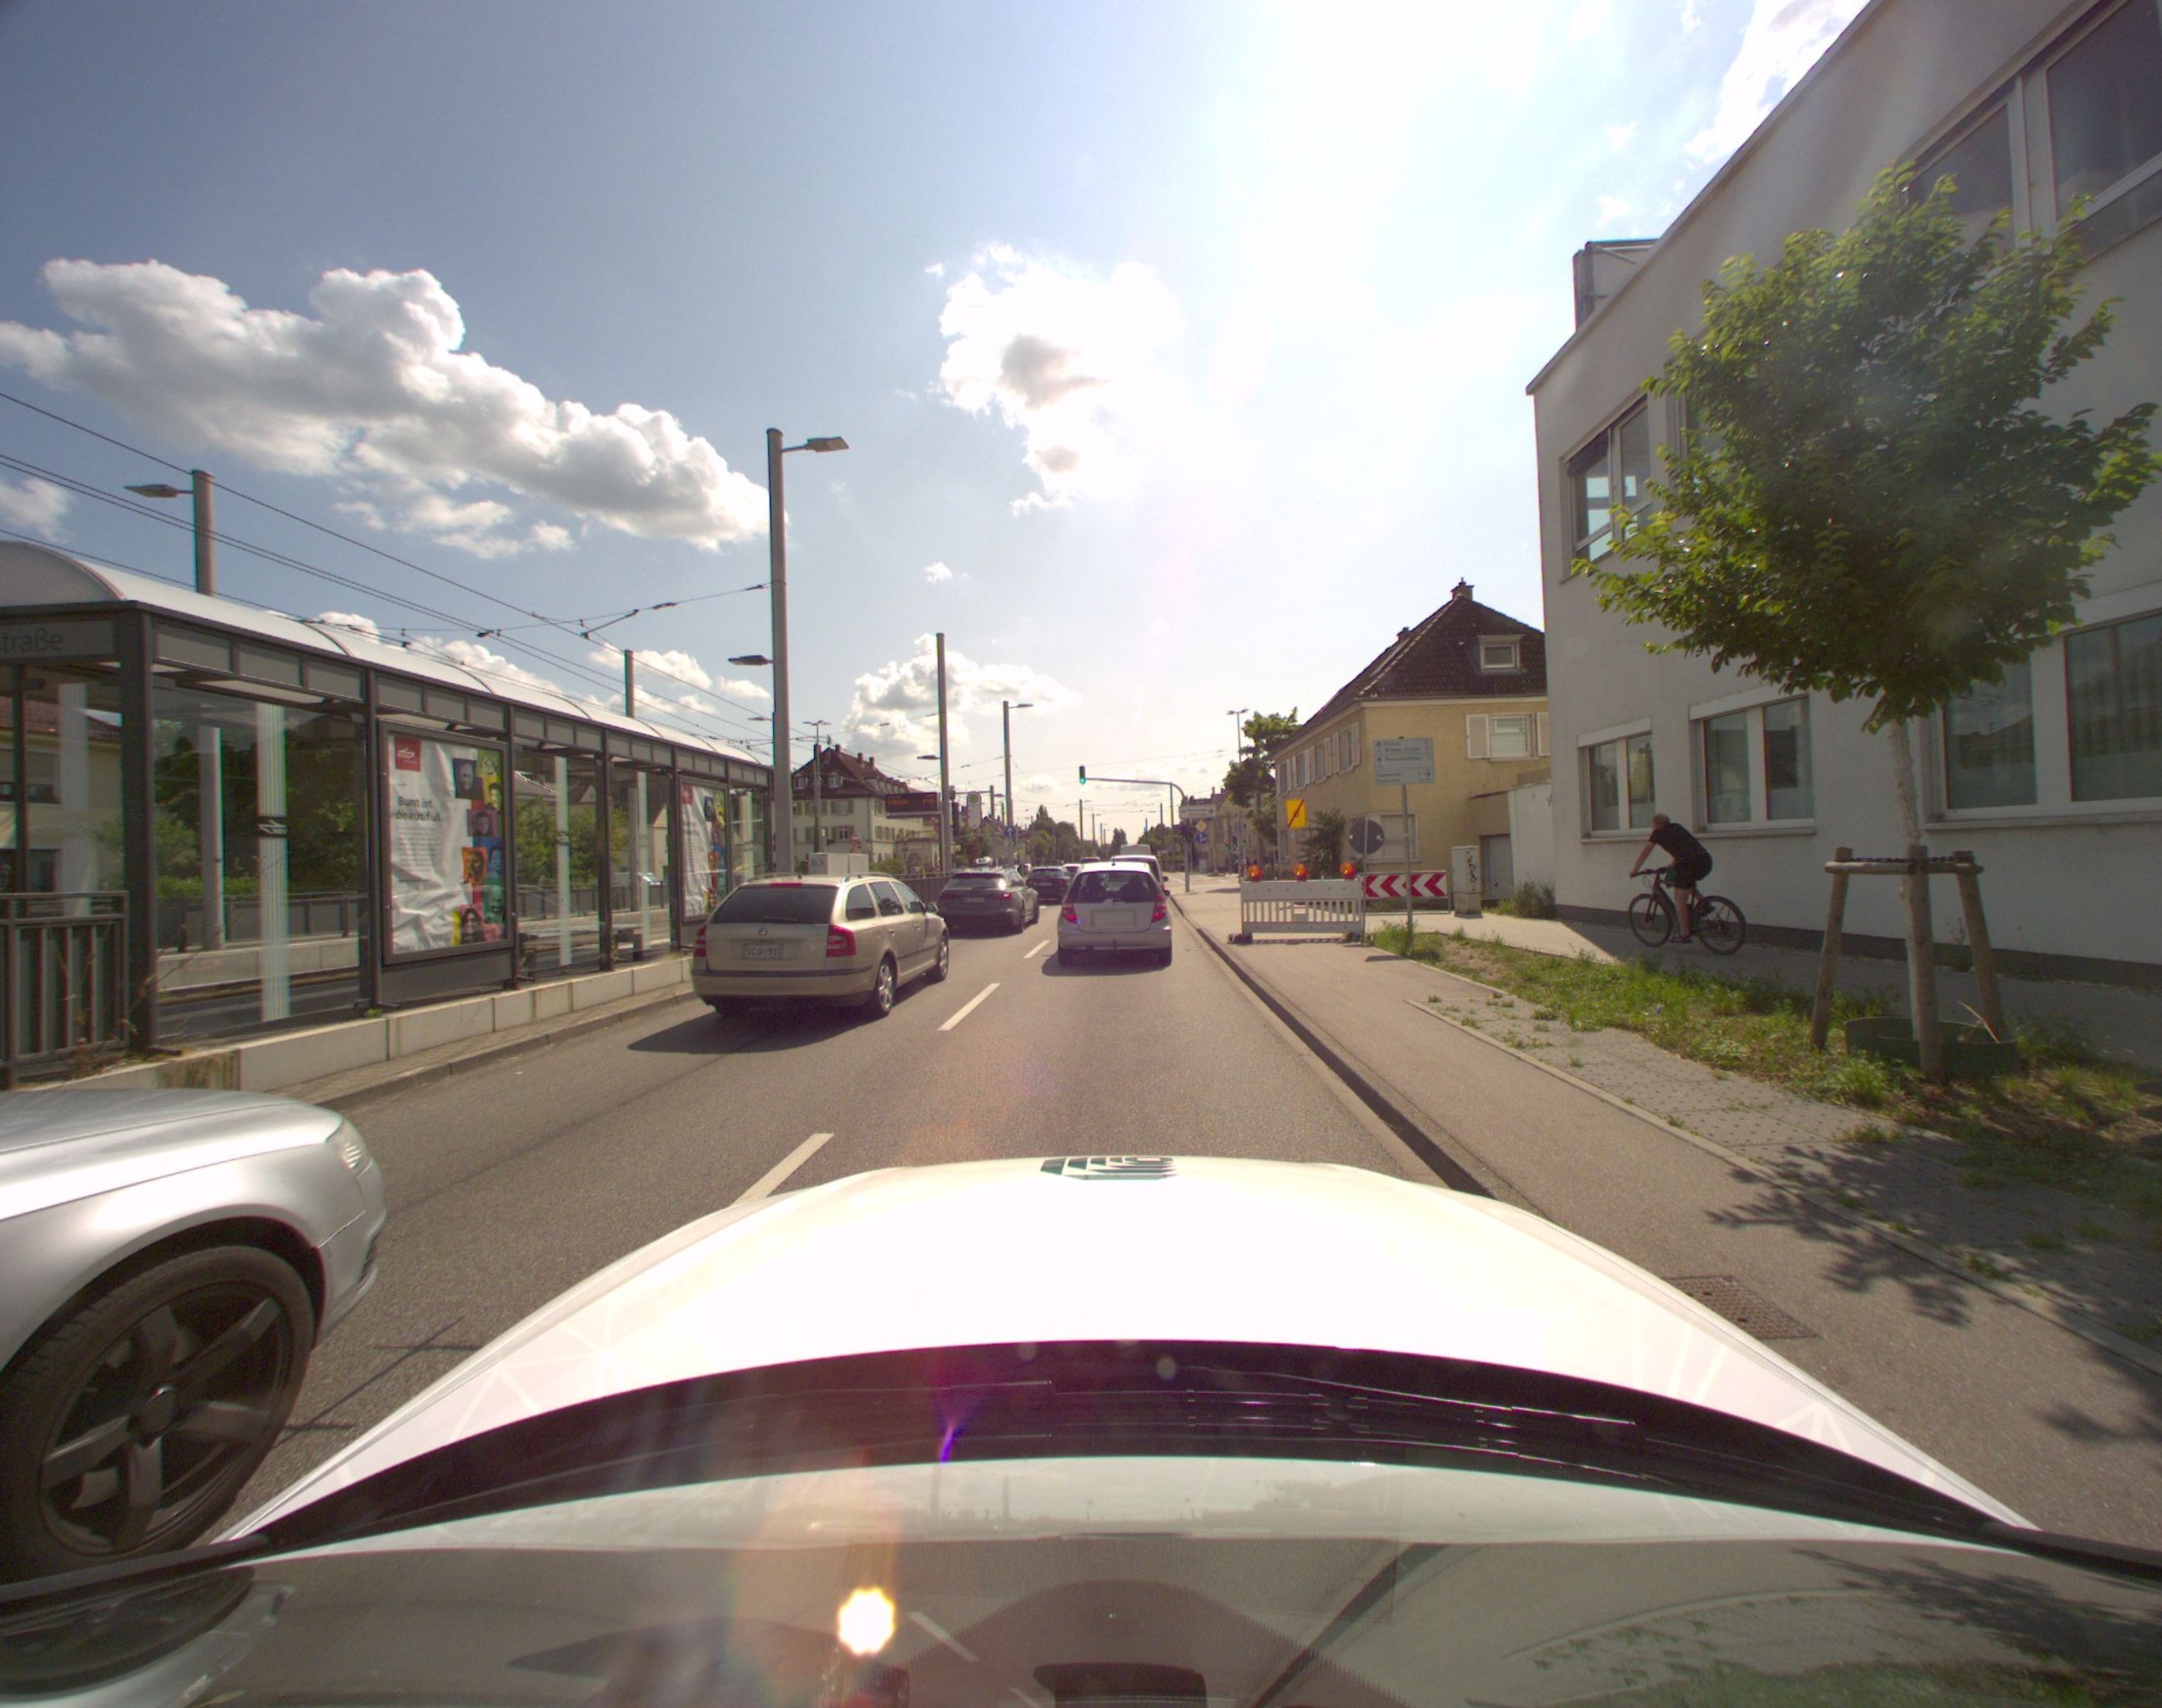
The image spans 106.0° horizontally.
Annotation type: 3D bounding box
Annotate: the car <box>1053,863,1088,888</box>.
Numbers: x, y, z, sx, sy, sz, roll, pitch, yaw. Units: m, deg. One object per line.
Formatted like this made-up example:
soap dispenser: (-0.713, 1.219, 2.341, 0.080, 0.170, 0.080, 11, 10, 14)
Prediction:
car: (-0.552, 1.261, 47.546, 1.845, 1.388, 3.920, 0, -1, 2)

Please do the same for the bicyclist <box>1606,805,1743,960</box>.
bicyclist: (7.418, 0.343, 10.234, 0.826, 1.794, 1.083, -3, -1, -1)

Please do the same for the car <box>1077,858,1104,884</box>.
car: (0.726, 1.250, 59.889, 1.845, 1.843, 3.920, 0, -1, 2)

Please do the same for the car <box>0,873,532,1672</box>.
car: (-2.933, 0.761, 0.541, 1.787, 1.472, 4.723, 0, -1, 2)

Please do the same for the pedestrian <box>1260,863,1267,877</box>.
pedestrian: (14.699, 1.311, 65.455, 0.485, 1.136, 0.389, 0, -2, 6)

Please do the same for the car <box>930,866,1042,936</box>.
car: (-2.161, 1.050, 19.769, 1.908, 1.477, 4.566, 0, -1, 3)

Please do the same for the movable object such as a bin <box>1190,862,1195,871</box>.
movable object such as a bin: (13.348, 1.495, 97.202, 0.509, 1.105, 0.856, -1, -2, 4)

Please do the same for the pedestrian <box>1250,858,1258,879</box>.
pedestrian: (13.866, 1.156, 65.290, 0.543, 1.643, 0.402, -1, -2, 8)

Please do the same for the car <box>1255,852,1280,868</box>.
car: (19.717, 0.645, 86.151, 1.985, 1.596, 4.135, 0, -1, 4)

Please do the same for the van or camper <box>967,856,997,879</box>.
van or camper: (-13.274, 1.806, 109.837, 2.313, 2.930, 7.763, -3, -1, 4)

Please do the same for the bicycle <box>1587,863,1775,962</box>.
bicycle: (7.438, 0.676, 10.242, 0.826, 1.075, 1.970, -3, 0, -1)

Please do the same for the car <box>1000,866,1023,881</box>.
car: (-9.184, 2.597, 108.408, 1.983, 1.776, 4.886, -4, -1, 6)

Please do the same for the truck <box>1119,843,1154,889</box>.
truck: (3.211, 0.721, 48.194, 1.845, 2.552, 5.857, 0, -1, 2)

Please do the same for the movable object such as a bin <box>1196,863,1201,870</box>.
movable object such as a bin: (14.845, 1.565, 102.902, 0.466, 0.947, 0.558, -2, -2, 3)

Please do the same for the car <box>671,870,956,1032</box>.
car: (-2.722, 0.914, 9.377, 1.724, 1.449, 4.126, 0, -1, 3)

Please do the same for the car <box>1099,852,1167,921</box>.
car: (1.395, 0.888, 23.002, 1.723, 1.762, 4.017, 0, -1, 1)

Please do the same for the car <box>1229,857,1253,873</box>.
car: (16.901, 1.190, 86.147, 1.985, 1.596, 4.135, 0, -1, 4)

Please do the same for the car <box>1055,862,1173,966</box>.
car: (0.543, 0.921, 13.995, 1.723, 1.517, 4.017, 0, -1, 1)

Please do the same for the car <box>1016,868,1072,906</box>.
car: (-1.394, 1.279, 32.375, 1.845, 1.388, 4.516, 0, -1, 2)

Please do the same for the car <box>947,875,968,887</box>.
car: (-14.545, 3.137, 96.007, 1.677, 1.352, 4.348, 0, -1, 3)

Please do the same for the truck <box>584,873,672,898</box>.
truck: (-35.604, 2.457, 64.030, 6.153, 1.922, 1.692, 0, -1, 6)
